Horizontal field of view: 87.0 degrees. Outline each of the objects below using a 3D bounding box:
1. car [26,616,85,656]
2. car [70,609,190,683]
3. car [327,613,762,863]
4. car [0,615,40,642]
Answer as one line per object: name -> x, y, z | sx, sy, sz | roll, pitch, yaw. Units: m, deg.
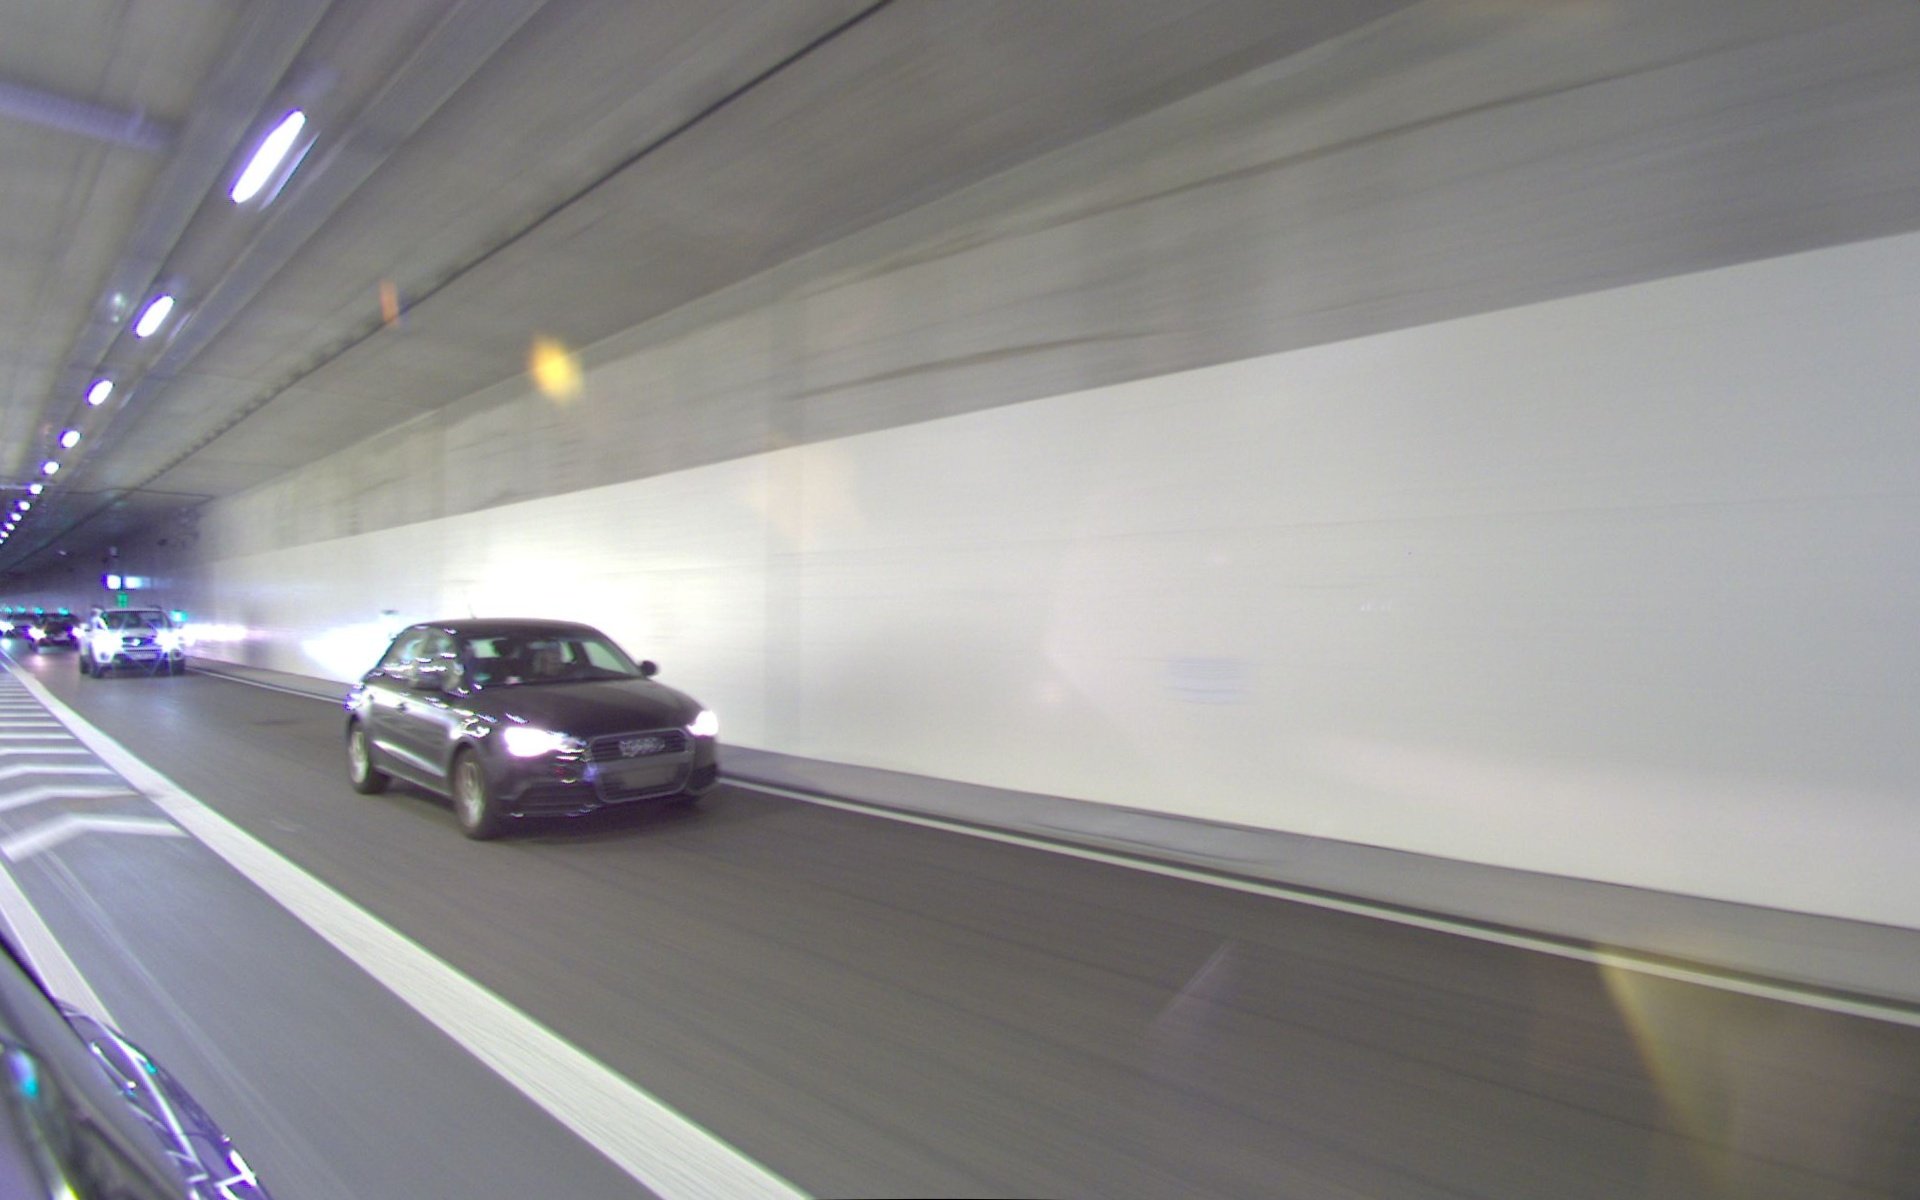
car -> -37.267, 1.436, 41.688 | 1.586, 1.481, 3.682 | -3, 1, -45
car -> -20.564, 1.080, 25.033 | 3.831, 1.677, 1.829 | -1, -1, 43
car -> -3.356, 0.830, 7.787 | 3.876, 1.412, 1.638 | -1, 0, 43
car -> -54.901, 1.652, 58.864 | 3.681, 1.463, 1.695 | -1, 1, 43
